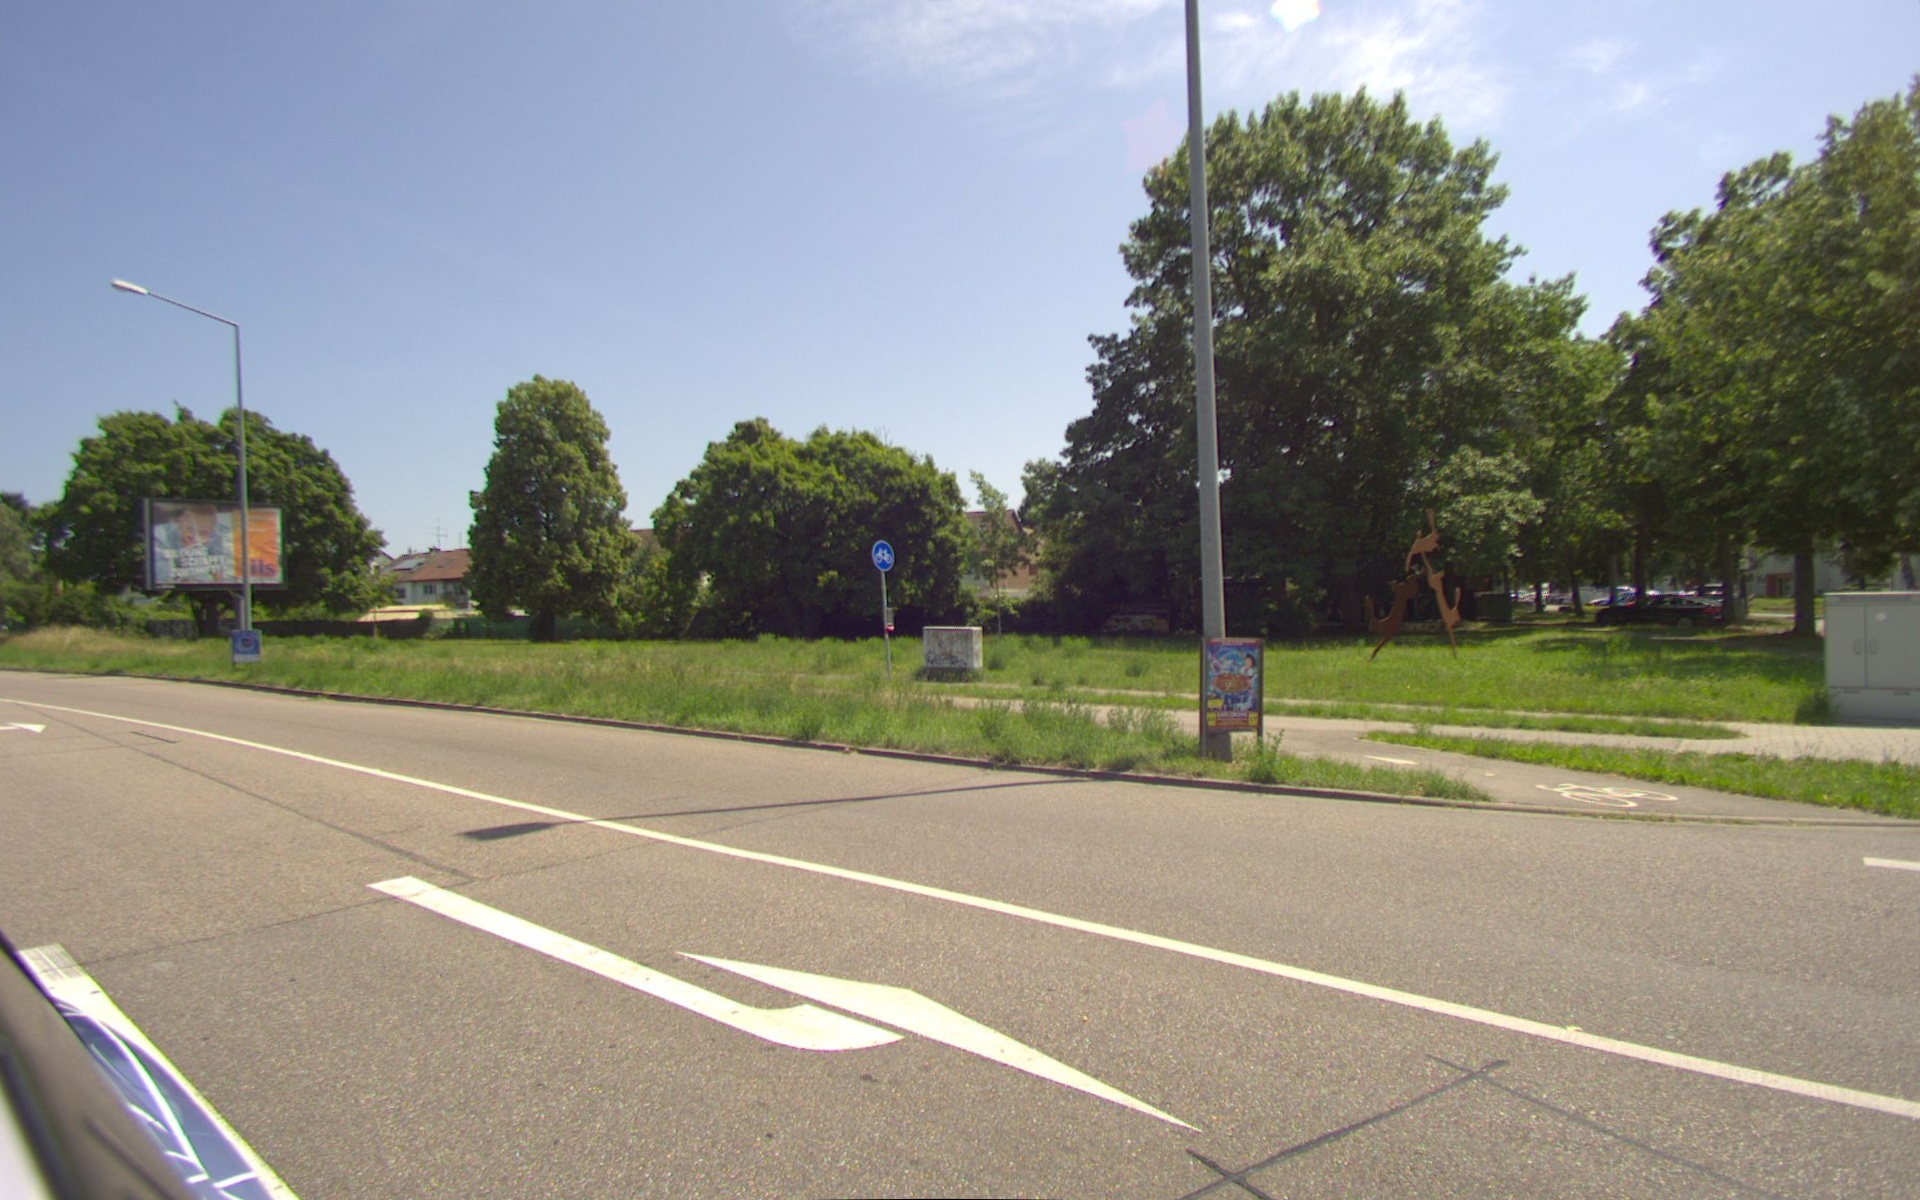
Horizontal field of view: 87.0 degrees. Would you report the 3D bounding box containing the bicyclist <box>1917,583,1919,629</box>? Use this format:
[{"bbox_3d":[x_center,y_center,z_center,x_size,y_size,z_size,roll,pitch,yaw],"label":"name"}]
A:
[{"bbox_3d":[36.421,0.220,37.708,0.768,1.705,0.891,-2,-1,21],"label":"bicyclist"}]

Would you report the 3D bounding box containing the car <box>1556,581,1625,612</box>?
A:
[{"bbox_3d":[46.795,-0.274,75.175,3.971,2.028,1.987,-2,2,21],"label":"car"}]

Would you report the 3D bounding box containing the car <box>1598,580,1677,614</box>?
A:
[{"bbox_3d":[45.157,-0.179,67.529,3.971,2.028,1.987,-2,2,21],"label":"car"}]

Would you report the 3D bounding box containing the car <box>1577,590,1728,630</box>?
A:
[{"bbox_3d":[27.940,0.442,40.983,1.966,1.479,4.597,-1,-1,-31],"label":"car"}]

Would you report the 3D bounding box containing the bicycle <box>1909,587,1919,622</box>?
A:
[{"bbox_3d":[36.410,0.152,37.700,0.768,1.309,2.047,-2,-1,20],"label":"bicycle"}]

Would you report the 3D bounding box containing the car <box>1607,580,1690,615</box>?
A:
[{"bbox_3d":[44.251,-0.161,65.123,3.971,2.028,1.987,-2,2,21],"label":"car"}]
